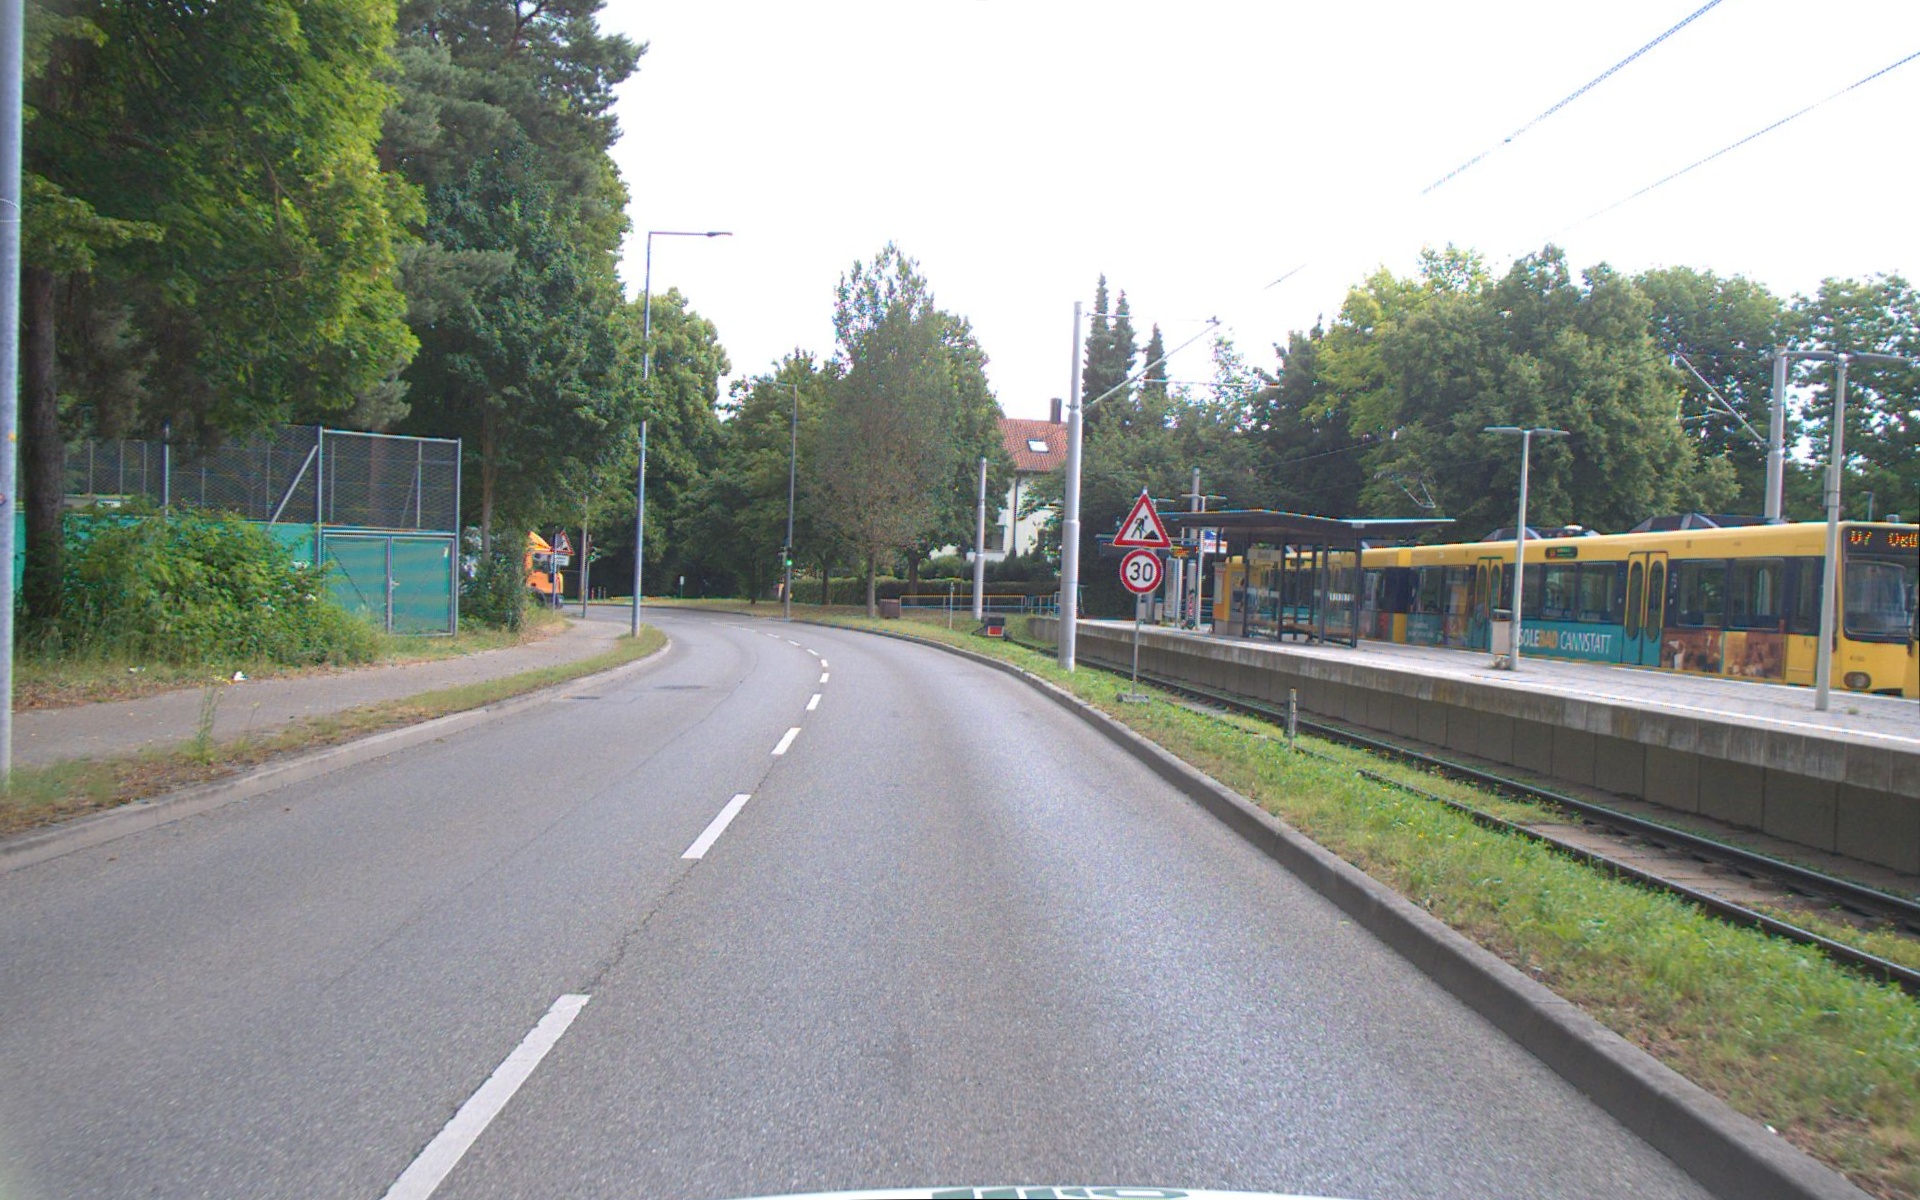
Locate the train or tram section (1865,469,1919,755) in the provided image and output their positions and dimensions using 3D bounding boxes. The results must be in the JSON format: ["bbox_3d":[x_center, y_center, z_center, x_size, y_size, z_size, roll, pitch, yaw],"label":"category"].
[{"bbox_3d":[14.590,0.343,14.079,2.757,3.864,18.928,3,1,-2],"label":"train or tram section"}]

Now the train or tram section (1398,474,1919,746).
[{"bbox_3d":[13.562,0.032,33.147,2.758,3.801,19.496,3,1,-5],"label":"train or tram section"}]

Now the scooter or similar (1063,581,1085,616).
[{"bbox_3d":[4.208,-0.056,61.006,0.422,1.275,1.250,1,-1,-14],"label":"scooter or similar"}]

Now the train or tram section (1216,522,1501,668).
[{"bbox_3d":[11.869,-0.298,52.702,2.758,3.651,19.496,3,1,-5],"label":"train or tram section"}]

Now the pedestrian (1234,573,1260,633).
[{"bbox_3d":[7.849,0.077,45.216,0.609,1.600,0.665,2,0,12],"label":"pedestrian"}]

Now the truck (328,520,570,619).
[{"bbox_3d":[-20.599,-1.181,66.876,9.093,3.593,2.551,2,-1,-20],"label":"truck"}]

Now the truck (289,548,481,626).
[{"bbox_3d":[-20.556,-0.430,59.269,6.296,2.458,2.109,3,-1,-22],"label":"truck"}]

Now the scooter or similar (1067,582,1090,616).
[{"bbox_3d":[4.509,-0.026,63.089,0.423,1.275,1.248,1,-1,-17],"label":"scooter or similar"}]

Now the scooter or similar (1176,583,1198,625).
[{"bbox_3d":[6.983,0.129,50.945,0.361,1.264,1.145,2,1,-6],"label":"scooter or similar"}]
